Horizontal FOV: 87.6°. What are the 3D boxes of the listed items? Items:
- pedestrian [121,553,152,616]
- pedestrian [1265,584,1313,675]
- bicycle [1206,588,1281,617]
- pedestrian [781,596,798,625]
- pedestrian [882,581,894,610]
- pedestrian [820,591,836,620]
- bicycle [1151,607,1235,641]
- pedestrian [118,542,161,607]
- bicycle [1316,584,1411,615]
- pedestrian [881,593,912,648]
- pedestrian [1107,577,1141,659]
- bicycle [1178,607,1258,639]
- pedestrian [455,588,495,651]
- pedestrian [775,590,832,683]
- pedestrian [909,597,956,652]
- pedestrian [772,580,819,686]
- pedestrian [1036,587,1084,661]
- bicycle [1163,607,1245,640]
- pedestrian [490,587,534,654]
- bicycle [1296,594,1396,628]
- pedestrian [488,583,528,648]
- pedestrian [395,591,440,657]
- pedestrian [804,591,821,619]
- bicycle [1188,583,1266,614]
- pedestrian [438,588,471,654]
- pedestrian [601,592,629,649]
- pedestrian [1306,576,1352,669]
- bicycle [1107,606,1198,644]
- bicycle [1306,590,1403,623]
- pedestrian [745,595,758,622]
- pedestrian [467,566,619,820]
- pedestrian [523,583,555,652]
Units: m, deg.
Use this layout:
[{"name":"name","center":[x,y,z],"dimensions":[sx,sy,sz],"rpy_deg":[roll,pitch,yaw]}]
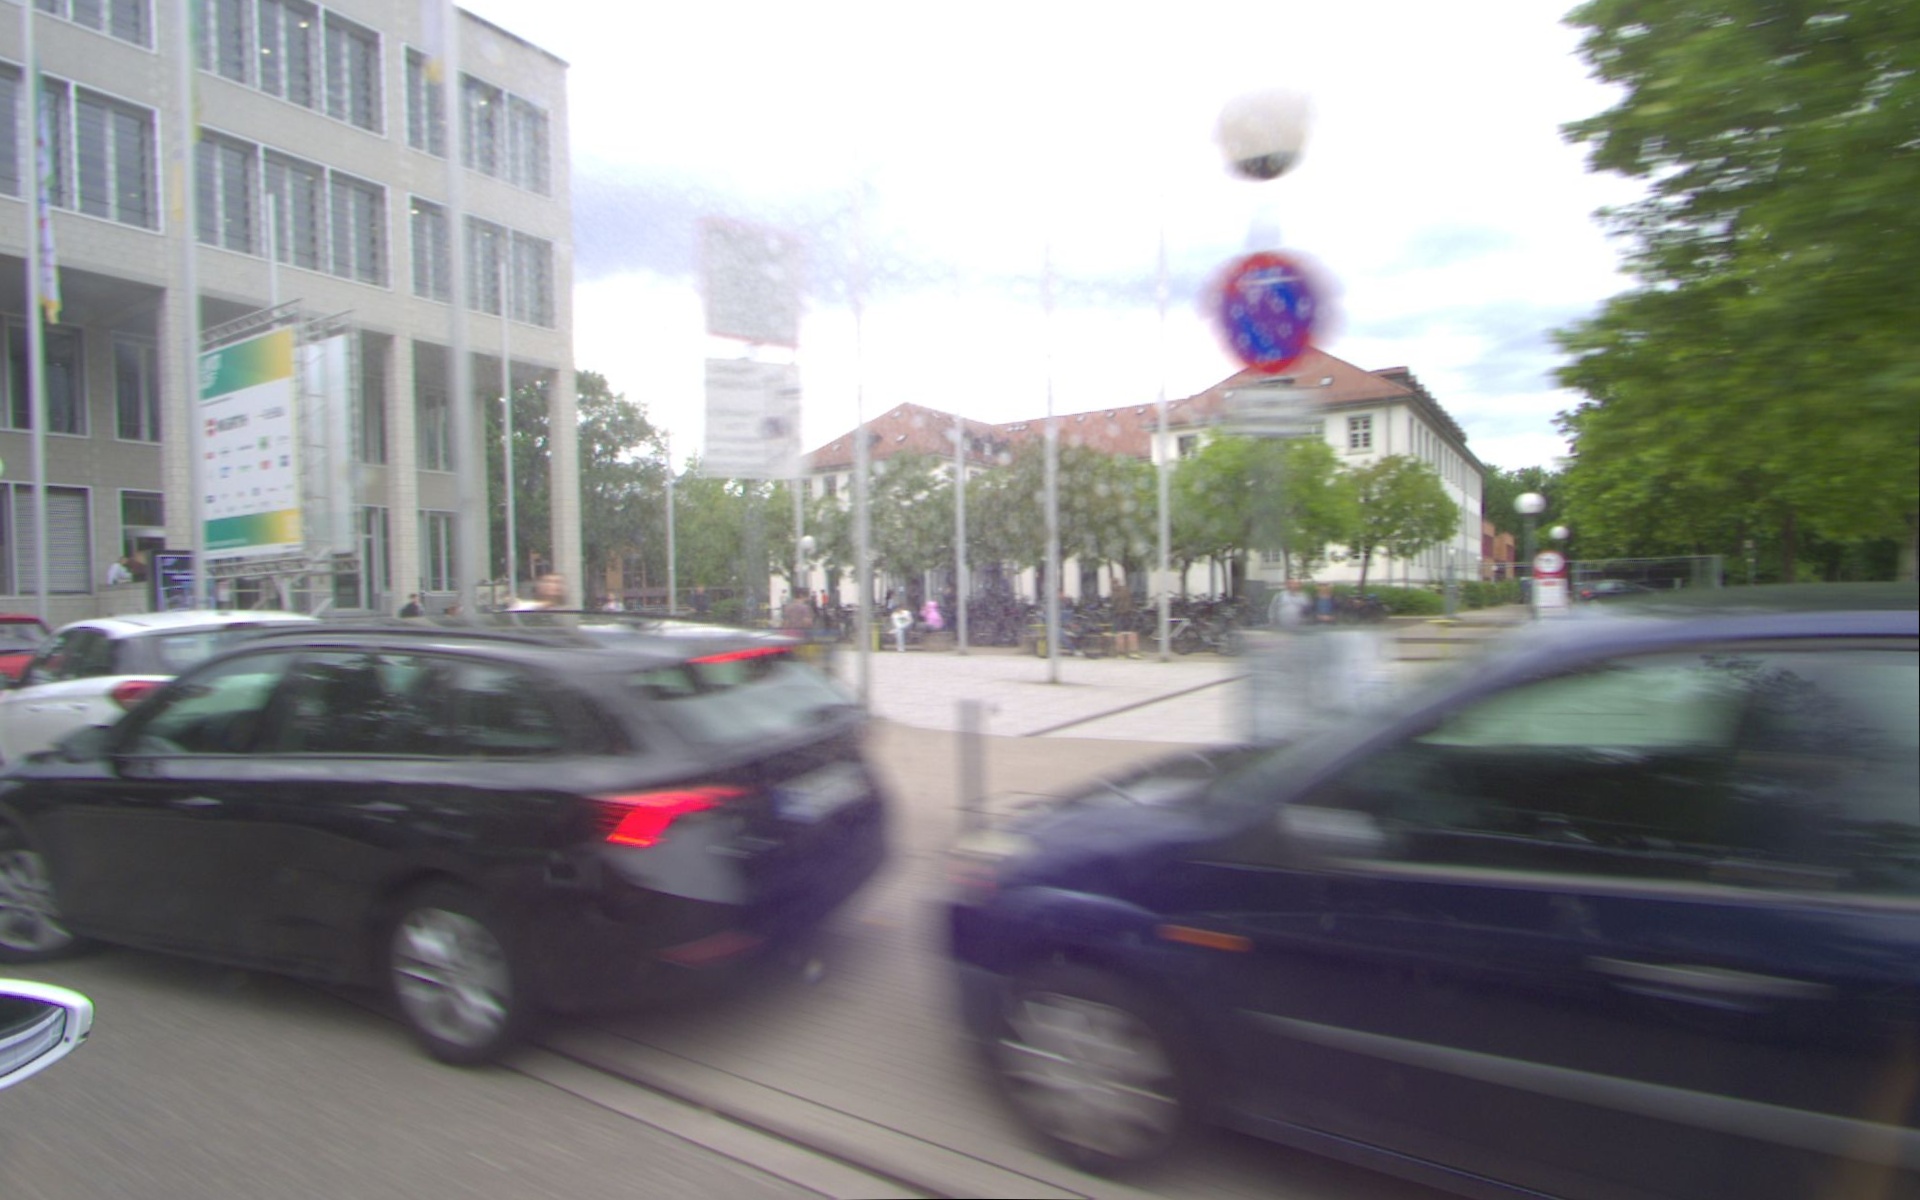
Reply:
[{"name":"pedestrian","center":[-22.405,-0.430,27.244],"dimensions":[0.624,1.681,0.799],"rpy_deg":[0,2,-41]},{"name":"pedestrian","center":[6.455,0.566,19.650],"dimensions":[0.670,1.738,0.668],"rpy_deg":[-1,1,39]},{"name":"bicycle","center":[12.355,0.100,43.673],"dimensions":[3.065,1.186,0.743],"rpy_deg":[2,1,35]},{"name":"pedestrian","center":[-9.951,0.613,58.334],"dimensions":[0.656,1.663,0.659],"rpy_deg":[-1,1,30]},{"name":"pedestrian","center":[-4.058,-0.245,56.831],"dimensions":[0.650,1.662,0.666],"rpy_deg":[0,-1,-2]},{"name":"pedestrian","center":[-7.740,0.328,58.727],"dimensions":[0.656,1.663,0.659],"rpy_deg":[-1,1,31]},{"name":"bicycle","center":[8.901,0.897,38.319],"dimensions":[3.065,1.186,0.743],"rpy_deg":[2,1,35]},{"name":"pedestrian","center":[-21.762,-0.658,26.578],"dimensions":[0.796,1.681,0.627],"rpy_deg":[1,1,-32]},{"name":"bicycle","center":[15.942,0.003,39.641],"dimensions":[3.353,1.185,1.047],"rpy_deg":[-1,0,39]},{"name":"pedestrian","center":[-1.698,0.544,26.870],"dimensions":[0.754,1.432,0.673],"rpy_deg":[-1,1,2]},{"name":"pedestrian","center":[3.786,0.418,23.158],"dimensions":[0.502,1.858,0.672],"rpy_deg":[-2,1,-17]},{"name":"bicycle","center":[10.508,0.926,40.873],"dimensions":[3.065,1.186,0.743],"rpy_deg":[2,1,35]},{"name":"pedestrian","center":[-13.597,0.545,28.091],"dimensions":[0.595,1.738,0.774],"rpy_deg":[-1,1,34]},{"name":"pedestrian","center":[-2.984,0.684,19.141],"dimensions":[0.891,1.737,0.693],"rpy_deg":[0,3,5]},{"name":"pedestrian","center":[-0.728,0.648,26.597],"dimensions":[0.952,1.439,0.850],"rpy_deg":[-1,1,22]},{"name":"pedestrian","center":[-2.923,0.577,17.804],"dimensions":[0.633,1.832,0.645],"rpy_deg":[1,1,-26]},{"name":"pedestrian","center":[2.417,0.570,24.209],"dimensions":[0.952,1.727,0.850],"rpy_deg":[-1,2,20]},{"name":"bicycle","center":[9.552,0.909,39.315],"dimensions":[3.065,1.186,0.743],"rpy_deg":[2,1,35]},{"name":"pedestrian","center":[-12.218,0.557,27.322],"dimensions":[0.724,1.809,0.763],"rpy_deg":[-1,1,20]},{"name":"bicycle","center":[14.575,0.400,37.895],"dimensions":[3.351,1.186,1.048],"rpy_deg":[2,1,39]},{"name":"pedestrian","center":[-12.954,0.438,28.705],"dimensions":[0.724,1.809,0.720],"rpy_deg":[2,1,20]},{"name":"pedestrian","center":[-14.032,0.615,25.887],"dimensions":[0.696,1.692,0.753],"rpy_deg":[-1,1,34]},{"name":"pedestrian","center":[-8.730,0.296,59.266],"dimensions":[0.684,1.663,0.659],"rpy_deg":[-1,1,31]},{"name":"bicycle","center":[11.087,-0.071,41.672],"dimensions":[3.065,1.186,0.743],"rpy_deg":[2,1,35]},{"name":"pedestrian","center":[-14.445,0.607,28.603],"dimensions":[0.612,1.865,0.589],"rpy_deg":[-1,0,34]},{"name":"pedestrian","center":[-10.350,0.598,30.004],"dimensions":[0.725,1.663,0.928],"rpy_deg":[1,1,-22]},{"name":"pedestrian","center":[7.049,0.425,19.123],"dimensions":[0.650,1.738,0.581],"rpy_deg":[-1,0,39]},{"name":"bicycle","center":[6.642,0.857,34.688],"dimensions":[3.065,1.186,0.743],"rpy_deg":[2,1,35]},{"name":"bicycle","center":[15.244,0.264,38.766],"dimensions":[3.354,1.185,1.047],"rpy_deg":[-2,-1,39]},{"name":"pedestrian","center":[-12.862,0.536,61.746],"dimensions":[0.651,1.663,0.664],"rpy_deg":[-1,1,-22]},{"name":"pedestrian","center":[-3.196,0.664,7.674],"dimensions":[0.786,1.811,0.813],"rpy_deg":[-2,1,-45]},{"name":"pedestrian","center":[-11.885,0.481,28.277],"dimensions":[0.592,1.890,0.778],"rpy_deg":[-2,1,-8]}]
